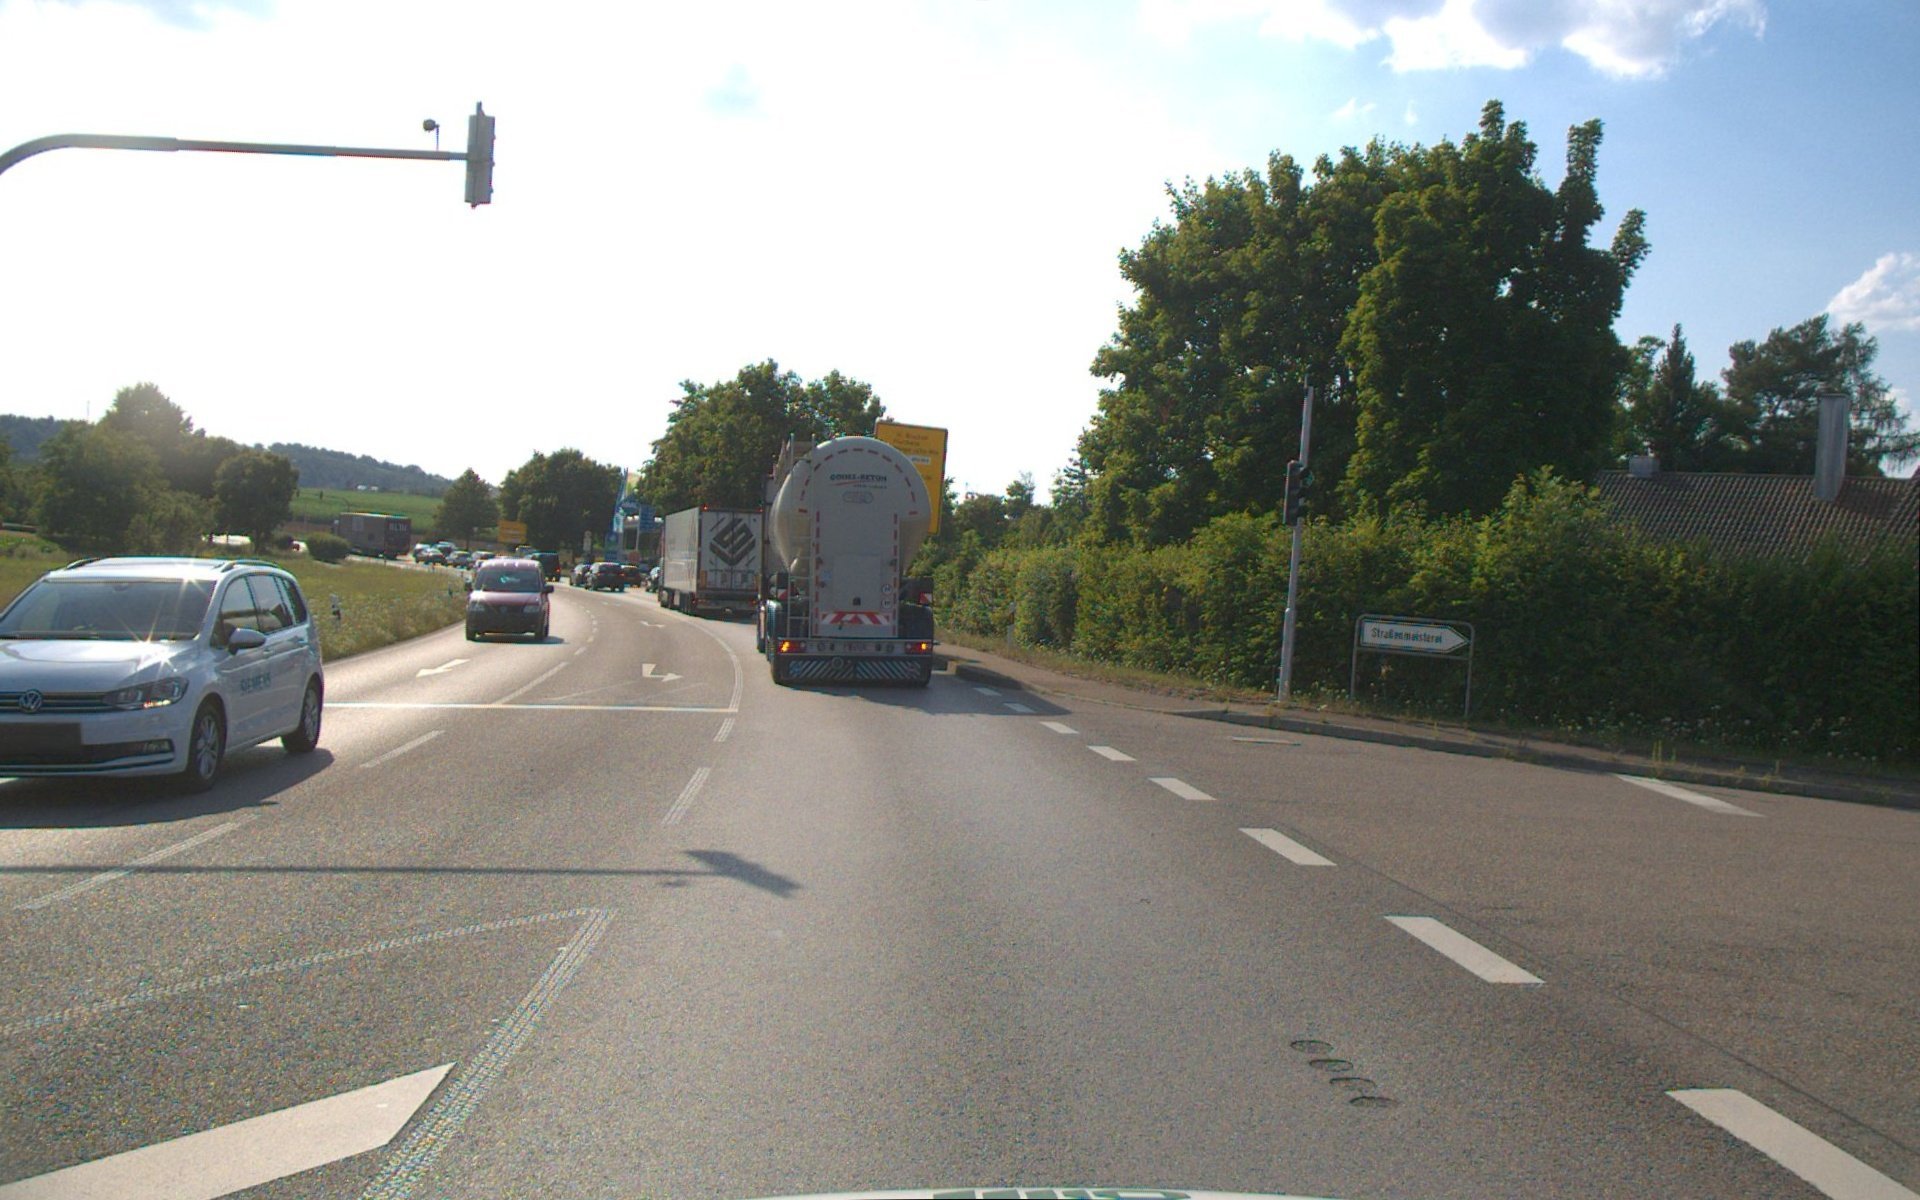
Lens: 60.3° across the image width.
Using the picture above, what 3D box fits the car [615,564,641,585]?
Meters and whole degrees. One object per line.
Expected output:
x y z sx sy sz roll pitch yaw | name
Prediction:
-23.304 -1.793 116.188 1.645 1.364 3.414 3 1 -13 | car

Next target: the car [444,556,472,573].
-45.068 -3.198 148.373 1.564 1.364 3.390 3 1 -31 | car

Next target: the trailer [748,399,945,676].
-2.257 -1.017 29.883 2.854 4.076 9.916 2 1 -7 | trailer

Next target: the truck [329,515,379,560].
-64.452 -6.666 175.883 3.350 4.425 5.632 3 1 -37 | truck

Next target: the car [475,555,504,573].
-40.282 -3.092 141.637 1.564 1.364 3.390 3 1 -31 | car

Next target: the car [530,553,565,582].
-30.661 -2.394 122.819 1.837 2.048 3.691 1 1 -24 | car

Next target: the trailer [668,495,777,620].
-9.886 -1.703 67.298 2.904 4.390 14.127 3 1 -13 | trailer

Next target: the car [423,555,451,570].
-48.749 -3.499 154.134 1.751 1.226 3.390 3 1 -31 | car

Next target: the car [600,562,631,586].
-21.258 -1.609 101.959 1.555 1.364 3.410 3 1 -17 | car

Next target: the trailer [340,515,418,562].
-59.592 -6.329 169.268 3.350 4.425 14.110 3 1 -36 | trailer

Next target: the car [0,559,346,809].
-6.303 0.505 12.891 1.844 1.614 4.324 1 1 -7 | car

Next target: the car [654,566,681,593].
-18.151 -1.281 102.501 1.396 1.534 3.414 3 1 -13 | car

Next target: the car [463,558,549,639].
-10.674 -0.072 39.053 1.849 1.806 4.305 0 1 -14 | car

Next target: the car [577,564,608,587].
-24.324 -1.627 109.483 1.556 1.364 3.407 3 1 -19 | car

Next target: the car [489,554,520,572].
-37.395 -3.044 135.767 1.564 1.364 3.390 3 1 -31 | car

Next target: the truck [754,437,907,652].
-2.737 -1.098 34.132 2.854 4.076 4.054 2 1 -7 | truck

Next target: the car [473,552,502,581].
-30.270 -2.121 105.924 1.562 1.806 3.978 0 1 -19 | car
